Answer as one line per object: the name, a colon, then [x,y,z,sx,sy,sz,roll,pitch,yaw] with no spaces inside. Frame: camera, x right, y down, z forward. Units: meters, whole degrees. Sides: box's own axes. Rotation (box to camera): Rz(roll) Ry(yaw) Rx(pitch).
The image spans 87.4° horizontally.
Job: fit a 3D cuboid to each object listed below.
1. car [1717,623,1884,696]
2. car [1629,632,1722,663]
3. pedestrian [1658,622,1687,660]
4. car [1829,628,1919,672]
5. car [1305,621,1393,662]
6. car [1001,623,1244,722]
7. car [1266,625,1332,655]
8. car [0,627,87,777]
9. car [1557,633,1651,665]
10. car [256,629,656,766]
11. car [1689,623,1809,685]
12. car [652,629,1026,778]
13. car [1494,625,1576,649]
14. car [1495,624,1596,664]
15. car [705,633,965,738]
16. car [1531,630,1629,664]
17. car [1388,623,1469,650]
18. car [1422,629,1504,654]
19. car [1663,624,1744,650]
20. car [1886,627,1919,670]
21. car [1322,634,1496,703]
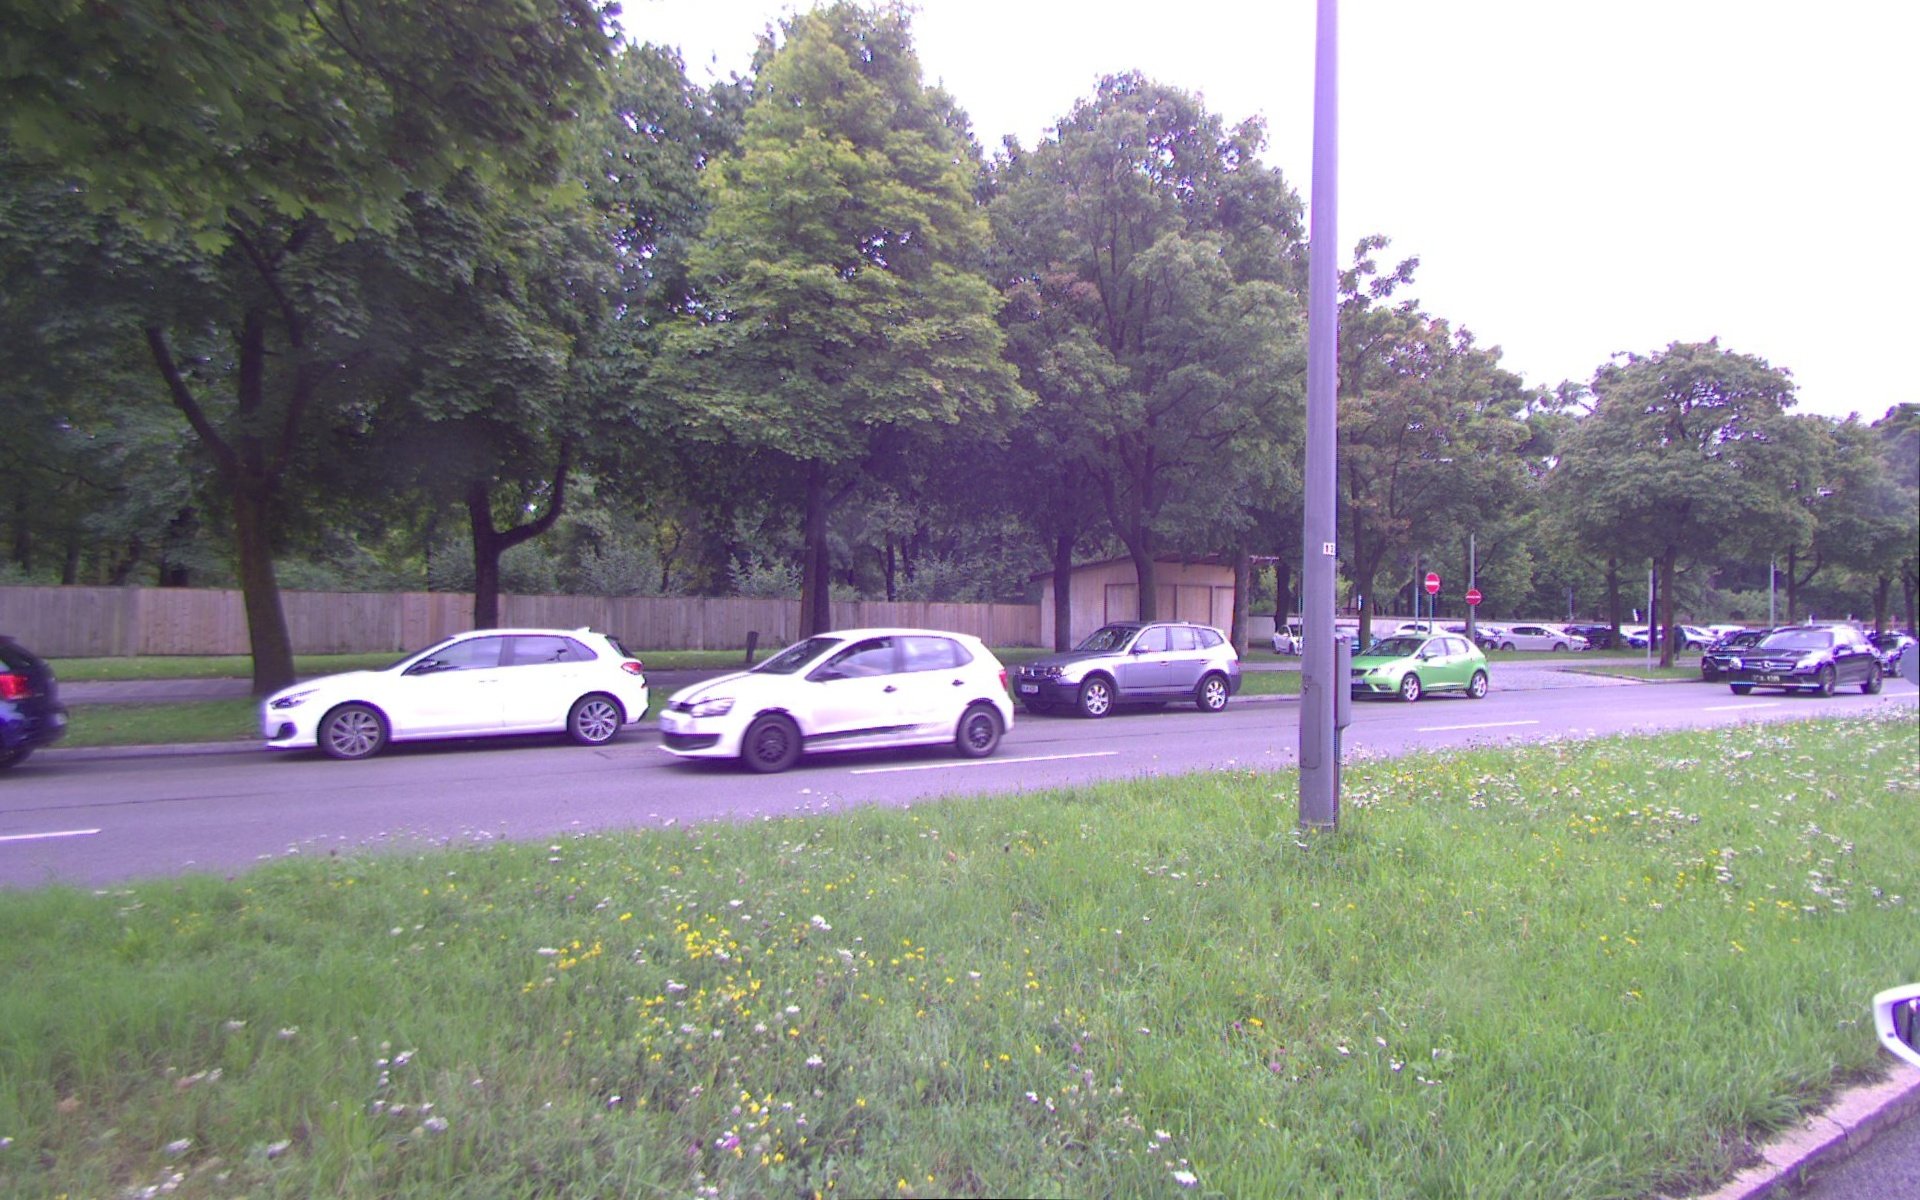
car: [20.475,1.415,24.425,4.455,1.644,1.757,1,-3,-31]
car: [39.093,2.579,54.955,1.656,1.465,3.840,2,0,-35]
pedestrian: [29.825,1.720,42.031,0.712,1.554,0.724,1,0,-30]
car: [33.325,1.812,36.420,3.835,1.465,1.658,2,0,-32]
car: [15.697,1.643,40.790,1.922,1.465,4.421,2,0,1]
car: [2.984,1.241,18.147,4.322,1.607,1.682,1,-2,-32]
car: [15.596,1.828,46.403,1.639,1.217,4.421,2,0,1]
car: [-10.890,0.972,9.411,3.856,1.436,1.604,1,-3,-33]
car: [33.996,2.563,53.067,1.656,1.465,3.840,2,0,-35]
car: [-6.136,1.108,12.577,4.229,1.463,1.599,1,-2,-31]
car: [24.530,1.656,31.207,3.835,1.764,1.707,2,0,-32]
car: [-1.277,1.037,11.081,3.794,1.393,1.610,1,-3,-31]
car: [39.180,2.496,68.570,1.653,1.465,4.669,2,0,-29]
car: [28.426,2.118,48.863,1.656,1.740,3.892,2,0,-35]
car: [-1.857,1.215,15.166,3.586,1.415,1.584,1,-2,-29]
car: [30.914,2.328,50.185,1.656,1.465,3.840,2,0,-35]
car: [29.669,2.273,63.723,1.653,1.496,4.485,2,0,-29]
car: [33.001,2.702,66.018,1.653,1.465,4.669,2,0,-29]
car: [47.562,2.341,64.280,1.656,1.465,3.840,2,0,-35]
car: [37.911,1.899,39.228,3.835,1.579,1.582,2,0,-32]
car: [10.051,1.480,22.447,3.831,1.428,1.541,1,-2,-29]
